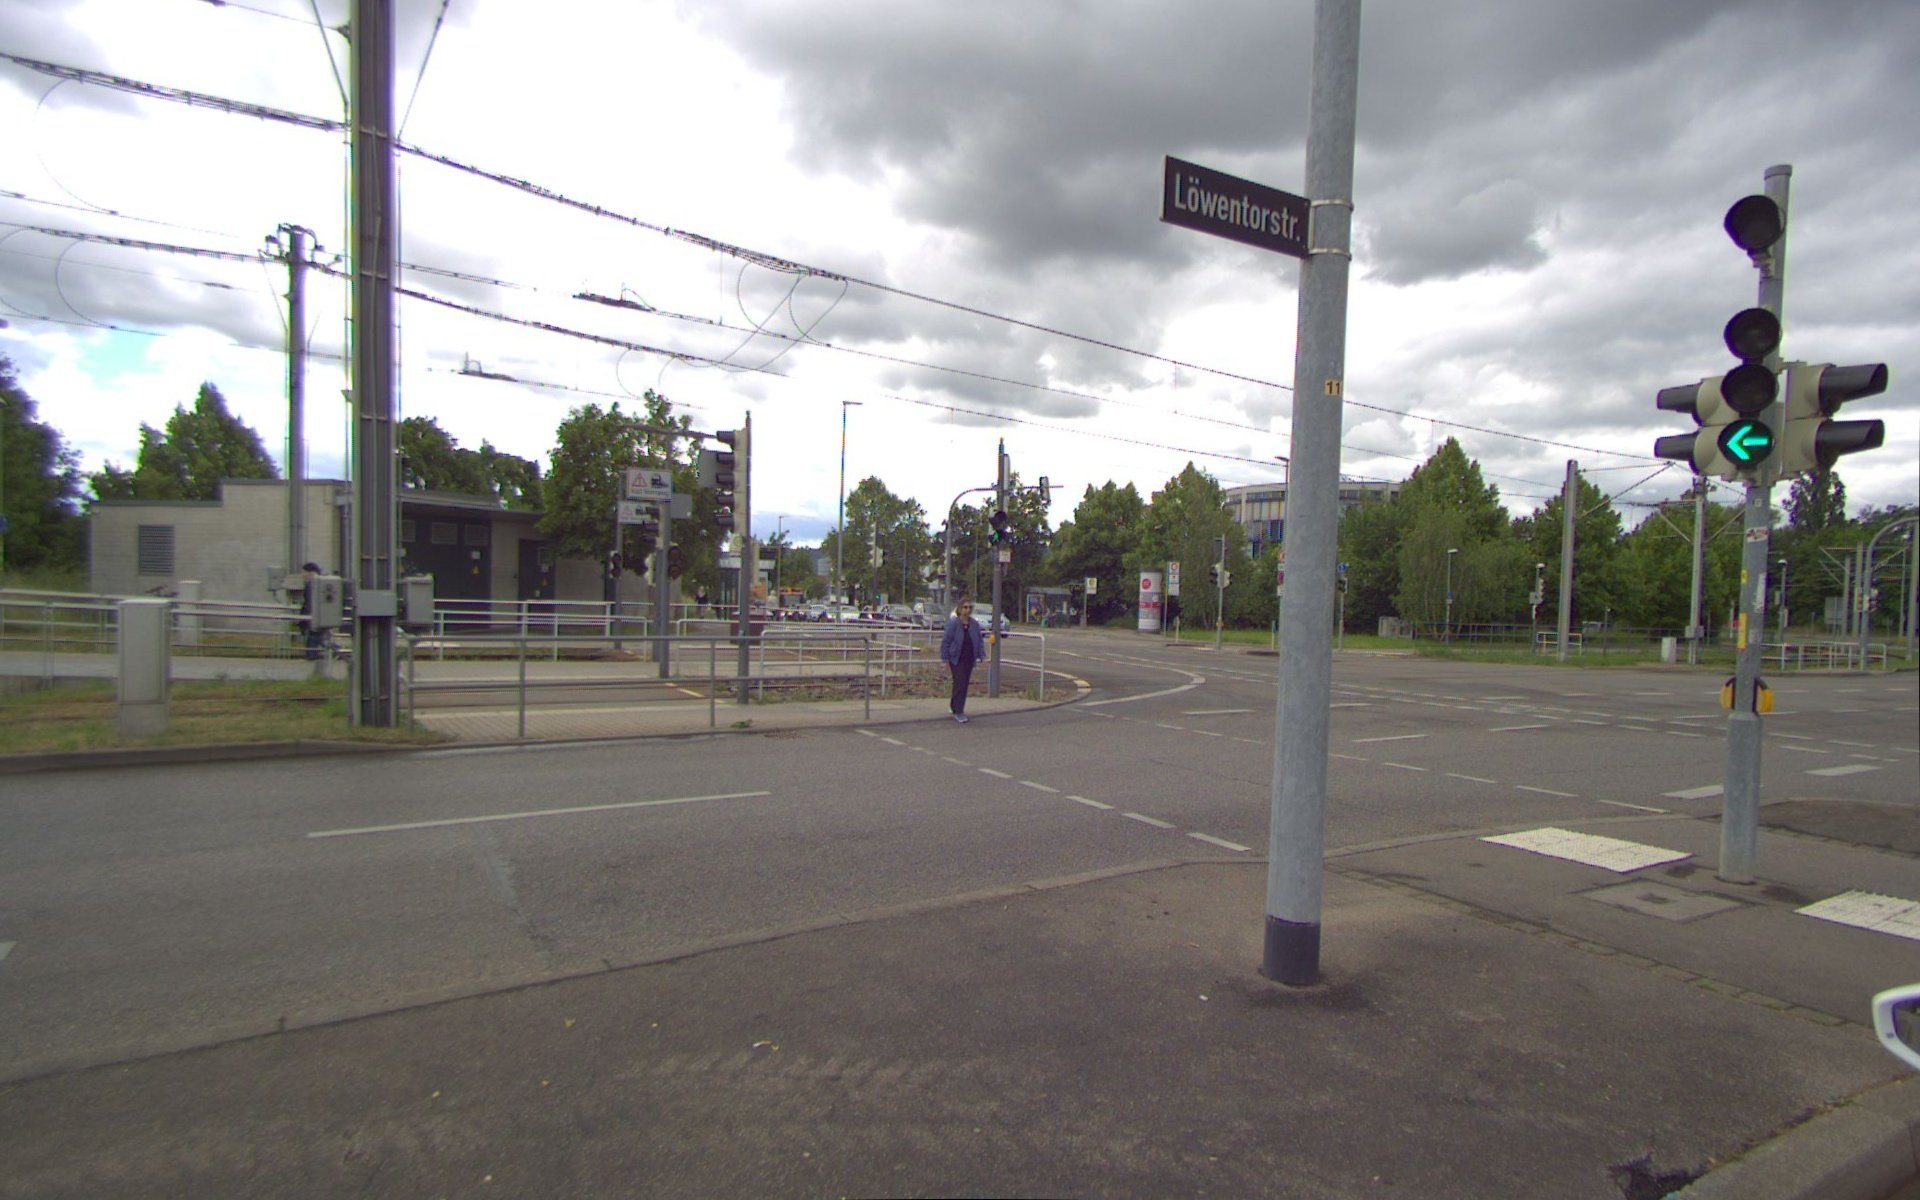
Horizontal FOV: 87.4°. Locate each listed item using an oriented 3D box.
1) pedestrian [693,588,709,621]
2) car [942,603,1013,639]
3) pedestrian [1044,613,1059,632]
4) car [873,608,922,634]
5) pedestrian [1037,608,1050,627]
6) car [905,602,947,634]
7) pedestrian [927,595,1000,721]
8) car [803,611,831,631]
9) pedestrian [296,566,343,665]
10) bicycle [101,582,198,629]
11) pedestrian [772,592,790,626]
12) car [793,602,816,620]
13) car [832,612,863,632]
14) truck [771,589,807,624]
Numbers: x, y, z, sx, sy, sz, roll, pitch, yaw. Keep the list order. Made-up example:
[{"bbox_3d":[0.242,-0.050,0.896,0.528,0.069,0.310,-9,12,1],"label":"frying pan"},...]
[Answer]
[{"bbox_3d":[-13.304,0.223,51.668,0.539,1.692,0.639,1,0,10],"label":"pedestrian"},{"bbox_3d":[0.756,0.927,45.700,1.805,1.556,4.199,1,0,-21],"label":"car"},{"bbox_3d":[6.416,1.579,70.112,0.759,1.269,0.774,1,0,32],"label":"pedestrian"},{"bbox_3d":[-3.602,1.172,57.320,1.777,1.350,4.362,1,0,-18],"label":"car"},{"bbox_3d":[5.939,1.254,71.548,0.718,1.333,0.587,1,0,-15],"label":"pedestrian"},{"bbox_3d":[-1.785,0.902,51.619,1.411,1.547,2.763,1,0,-19],"label":"car"},{"bbox_3d":[0.037,0.725,12.815,0.661,1.550,0.711,2,0,-25],"label":"pedestrian"},{"bbox_3d":[-12.215,1.746,85.609,1.708,1.606,4.208,1,0,-17],"label":"car"},{"bbox_3d":[-10.671,0.254,16.751,0.539,1.593,0.560,4,-1,-30],"label":"pedestrian"},{"bbox_3d":[-20.743,0.140,25.714,2.210,1.120,0.679,2,0,12],"label":"bicycle"},{"bbox_3d":[-7.579,0.378,42.522,0.543,1.382,0.769,1,0,-24],"label":"pedestrian"},{"bbox_3d":[-14.397,0.971,92.908,1.618,1.606,4.046,1,0,-17],"label":"car"},{"bbox_3d":[-8.232,1.584,73.255,1.618,1.409,3.749,1,0,-17],"label":"car"},{"bbox_3d":[-18.308,0.629,107.200,2.670,3.533,9.961,1,0,-16],"label":"truck"}]
